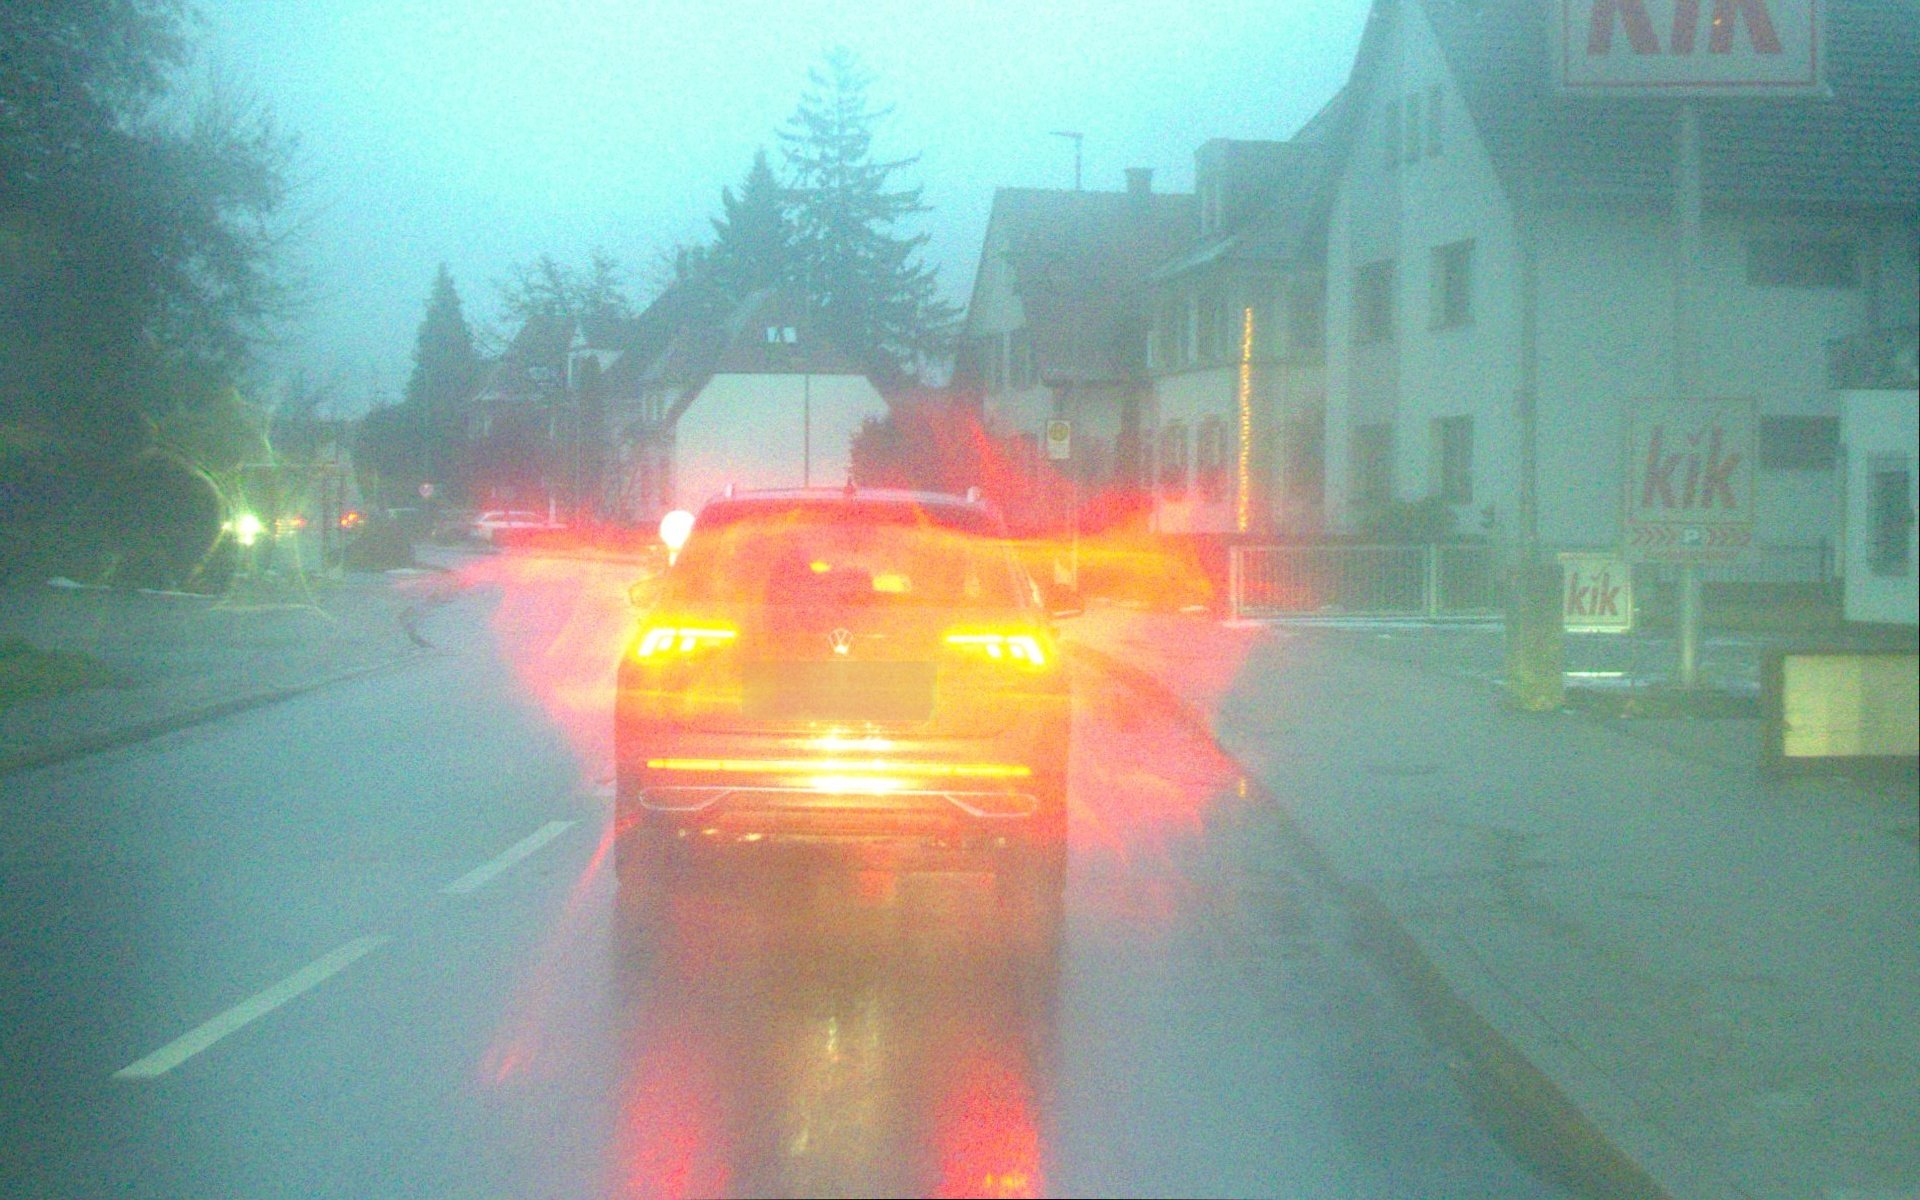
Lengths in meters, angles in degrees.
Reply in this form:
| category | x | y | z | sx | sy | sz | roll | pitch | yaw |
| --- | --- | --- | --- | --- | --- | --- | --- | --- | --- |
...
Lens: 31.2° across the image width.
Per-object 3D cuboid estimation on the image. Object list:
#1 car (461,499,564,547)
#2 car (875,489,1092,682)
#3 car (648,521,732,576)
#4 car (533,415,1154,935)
| category | x | y | z | sx | sy | sz | roll | pitch | yaw |
| --- | --- | --- | --- | --- | --- | --- | --- | --- | --- |
| car | -19.231 | -3.307 | 147.655 | 4.245 | 2.007 | 1.811 | 0 | 1 | -13 |
| car | 0.183 | -0.186 | 32.085 | 1.857 | 1.641 | 4.001 | 1 | 2 | -1 |
| car | -6.840 | -1.317 | 86.793 | 1.842 | 1.327 | 3.939 | 0 | 1 | -8 |
| car | -0.462 | 0.242 | 15.326 | 2.309 | 1.932 | 5.018 | 0 | 1 | -1 |
